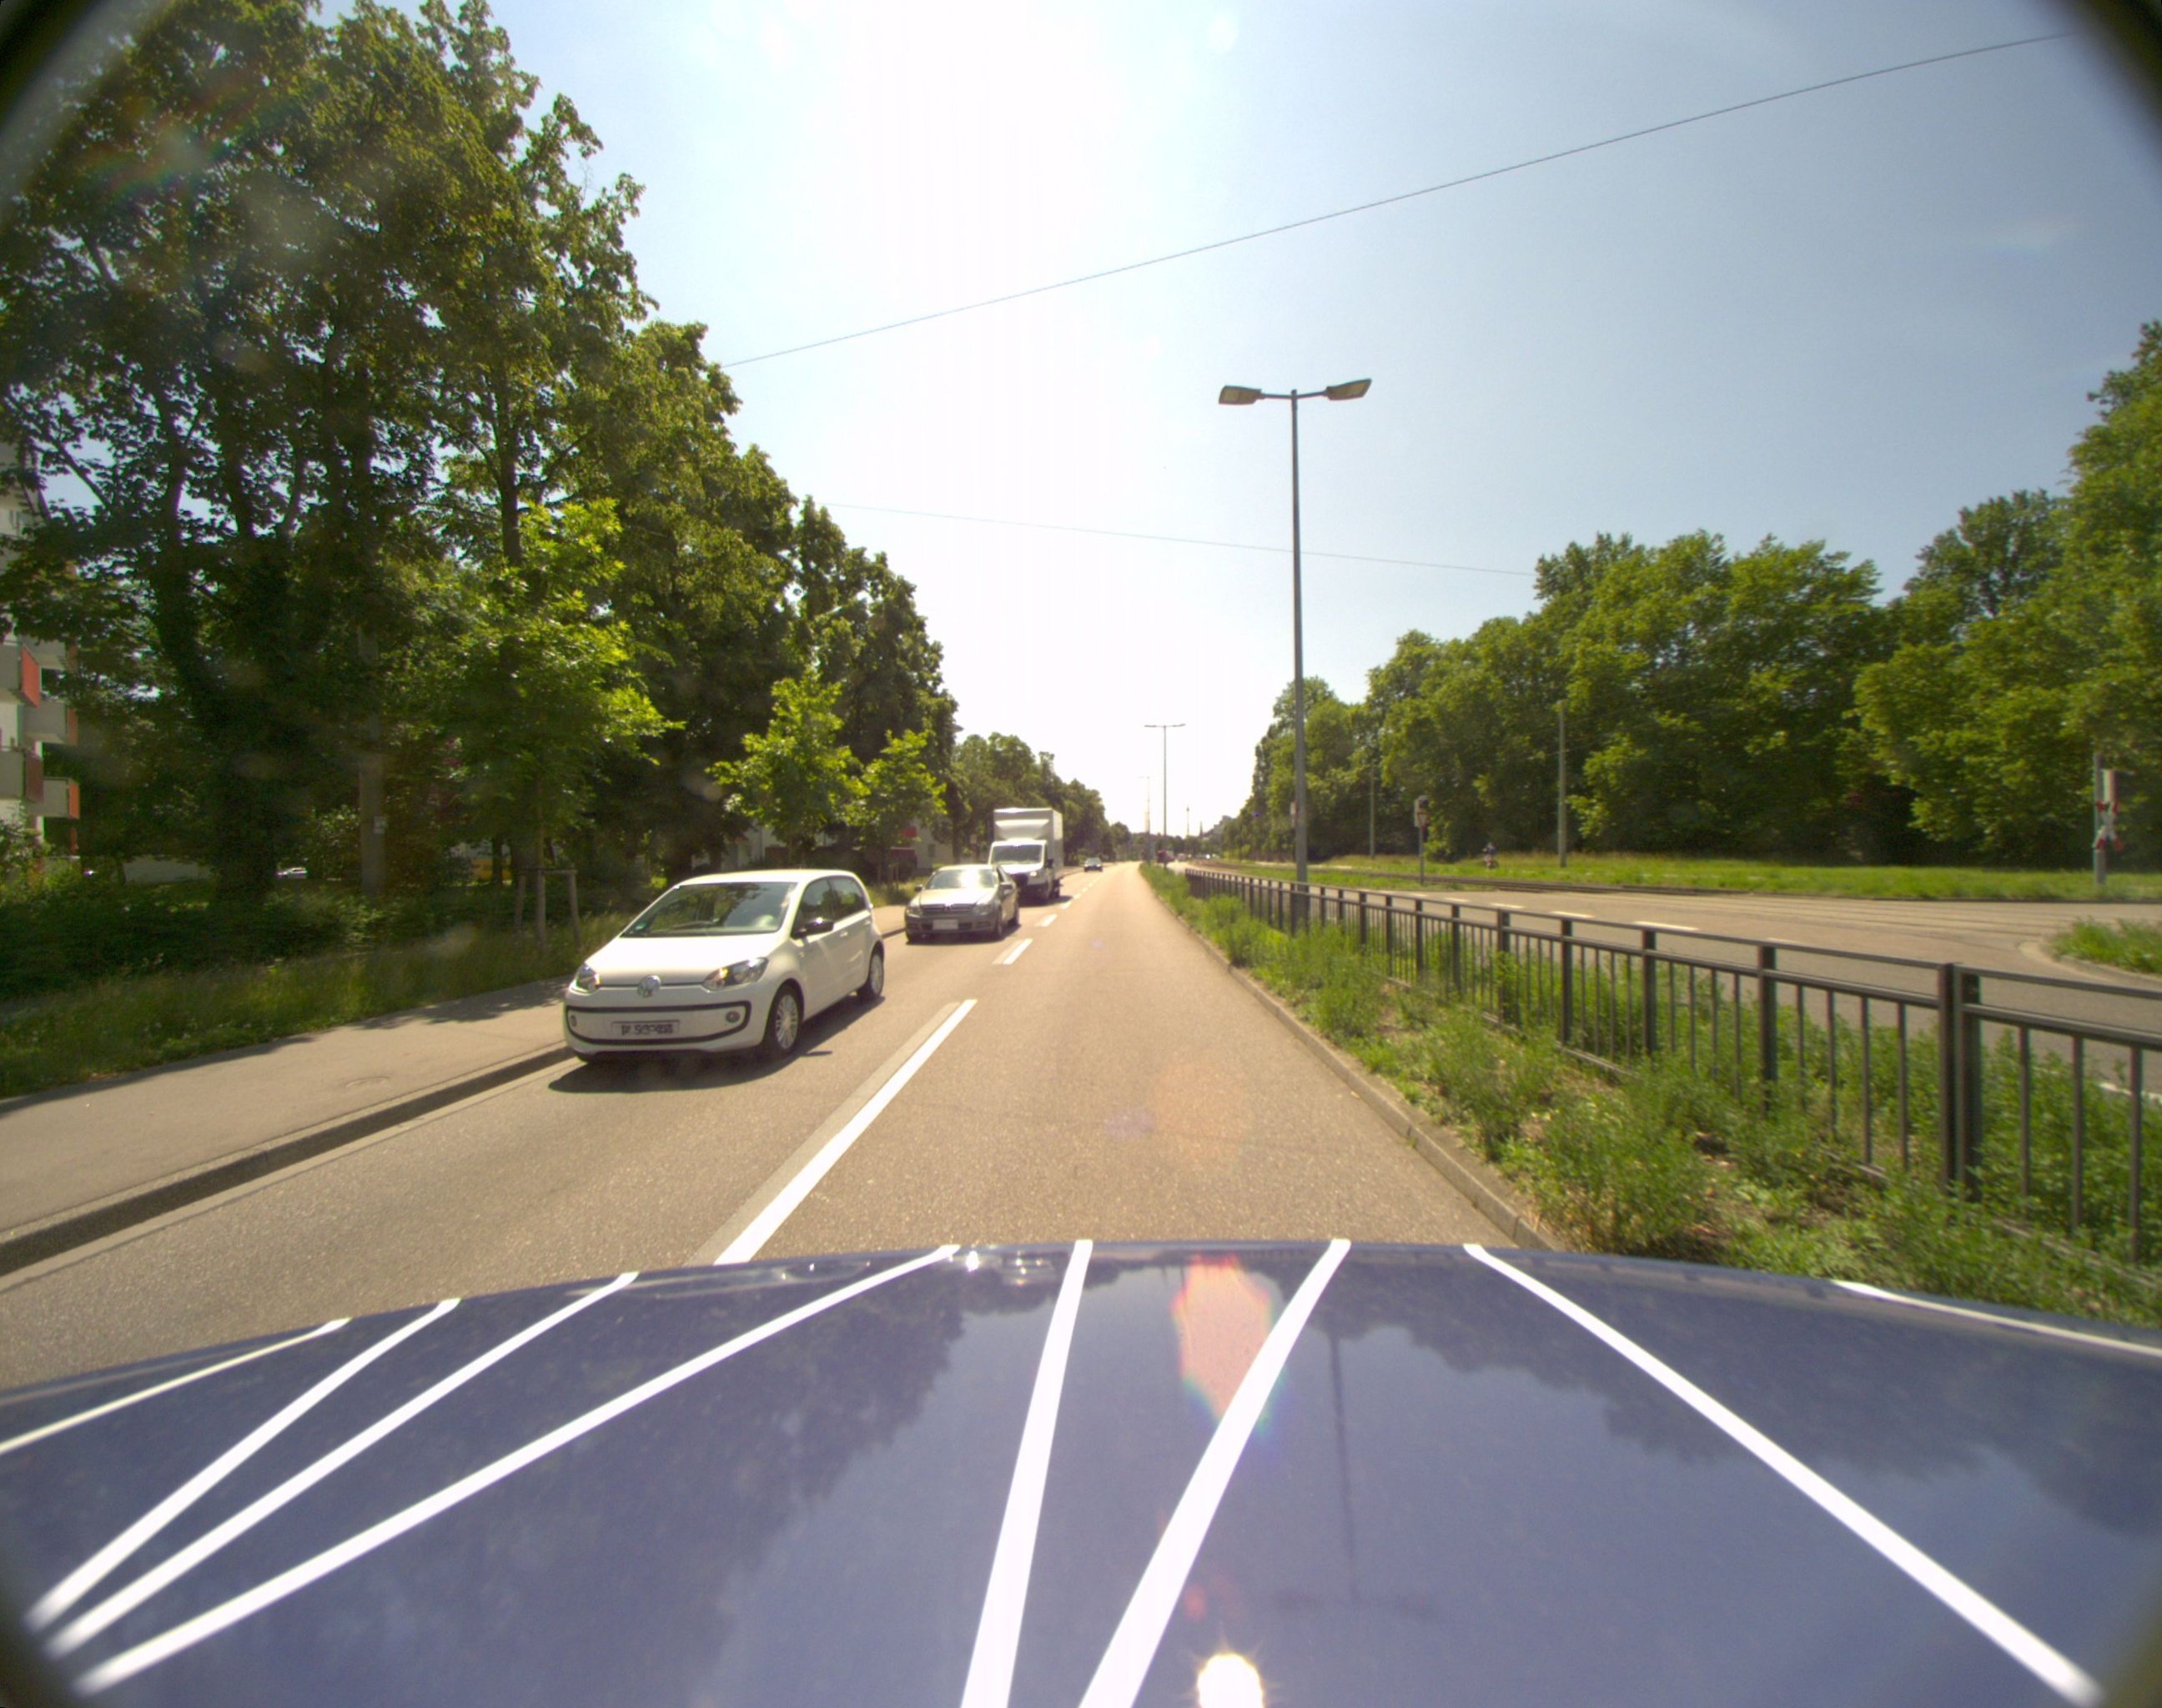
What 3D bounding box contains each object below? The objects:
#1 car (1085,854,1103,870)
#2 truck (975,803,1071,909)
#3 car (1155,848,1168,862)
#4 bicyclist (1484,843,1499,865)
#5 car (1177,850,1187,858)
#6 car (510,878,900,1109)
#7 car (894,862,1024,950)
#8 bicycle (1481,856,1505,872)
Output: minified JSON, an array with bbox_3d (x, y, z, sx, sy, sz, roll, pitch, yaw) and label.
[{"bbox_3d":[1.360,0.807,78.963,1.829,1.556,4.000,-1,0,2],"label":"car"},{"bbox_3d":[-1.879,0.040,28.030,2.294,3.259,8.314,-1,0,4],"label":"truck"},{"bbox_3d":[14.790,0.186,139.094,1.998,2.352,5.373,0,0,2],"label":"car"},{"bbox_3d":[24.760,-0.011,45.801,0.509,1.328,0.680,-1,1,-5],"label":"bicyclist"},{"bbox_3d":[24.775,-0.069,186.655,1.998,2.002,5.031,0,0,2],"label":"car"},{"bbox_3d":[-3.099,1.045,7.251,1.663,1.441,3.855,-2,0,2],"label":"car"},{"bbox_3d":[-2.348,0.966,15.654,1.903,1.451,3.971,-2,0,1],"label":"car"},{"bbox_3d":[24.781,0.583,45.736,0.509,0.896,1.565,-1,0,-4],"label":"bicycle"}]
